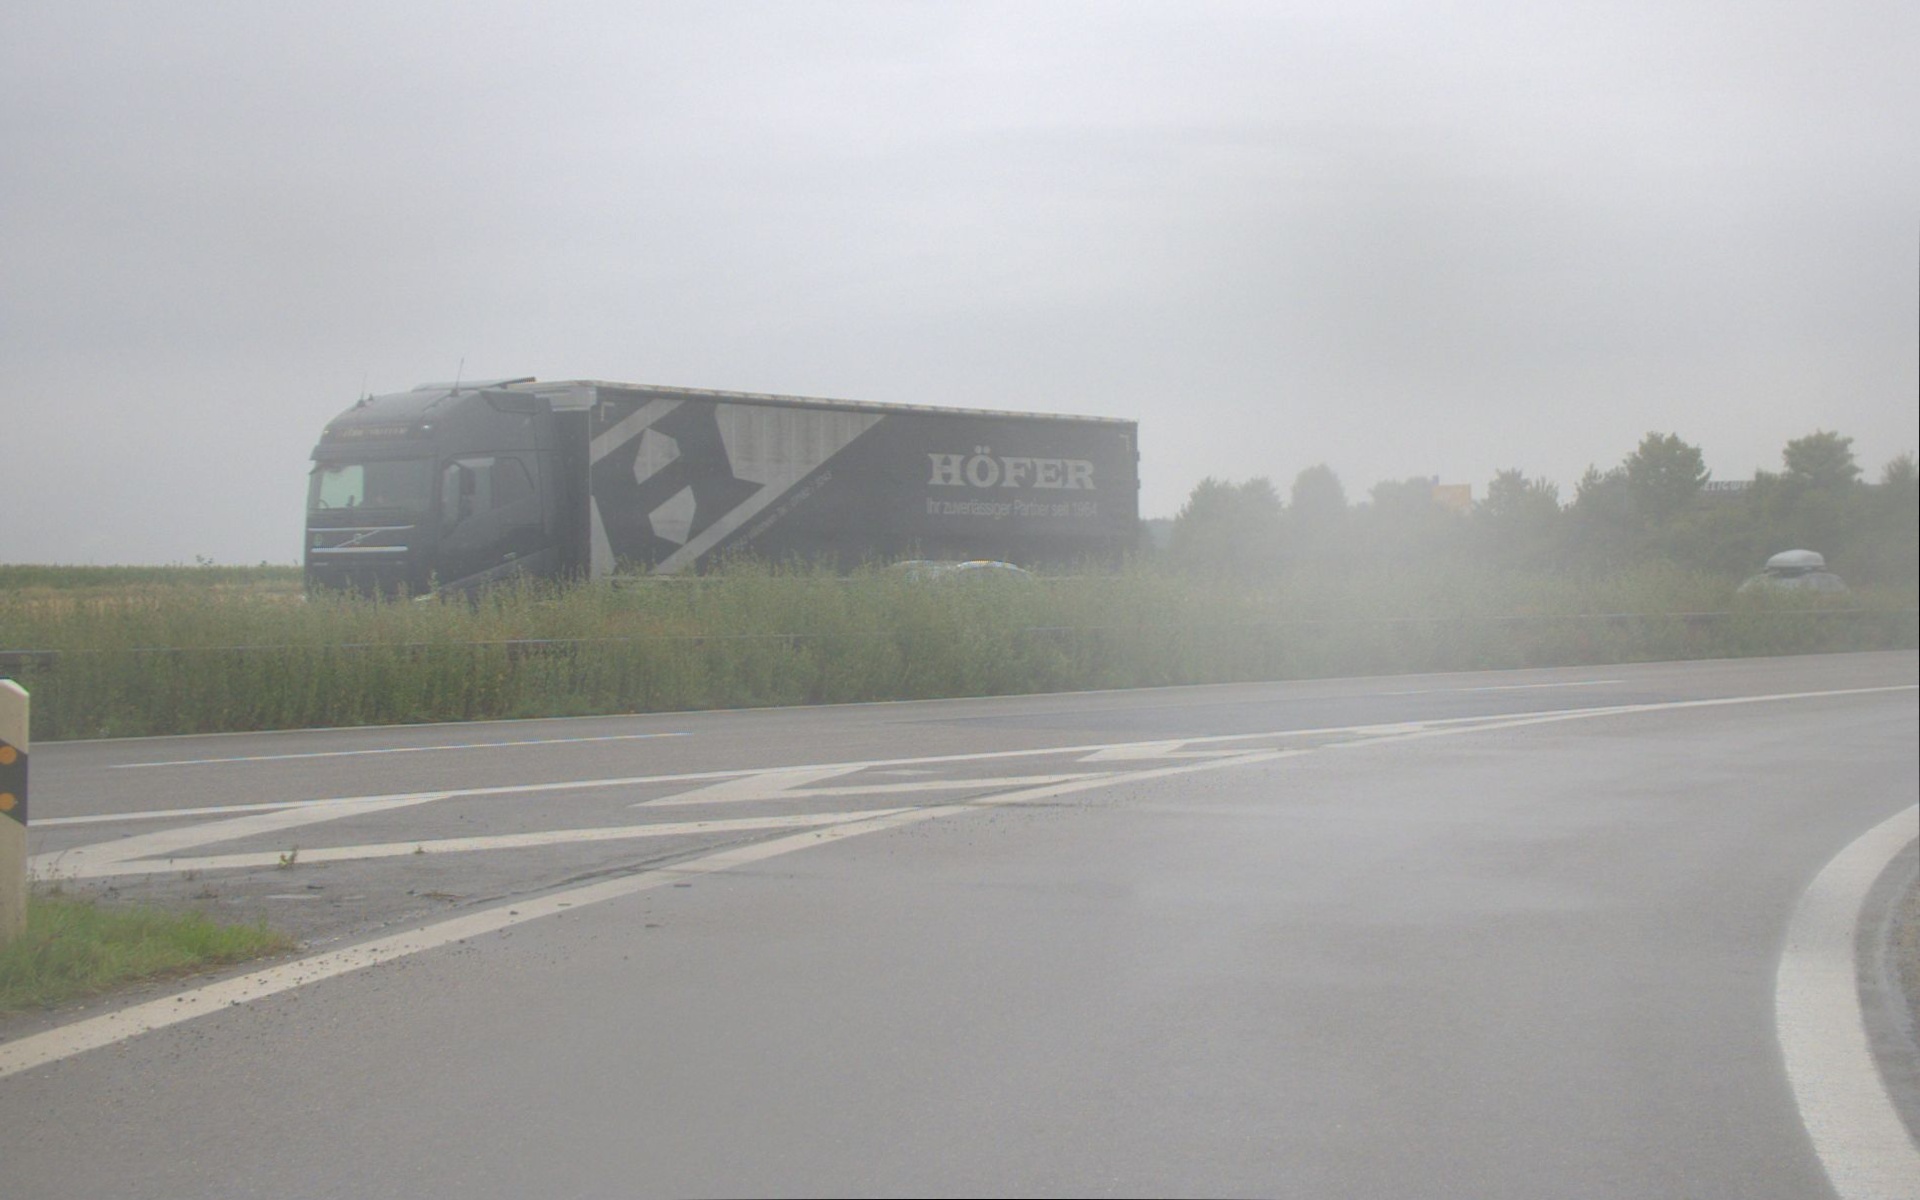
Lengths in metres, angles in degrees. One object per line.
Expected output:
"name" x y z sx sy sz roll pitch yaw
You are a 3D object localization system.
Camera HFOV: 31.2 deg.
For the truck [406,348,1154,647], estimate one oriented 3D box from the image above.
"truck" -2.220 -1.445 51.993 3.201 3.953 13.784 3 2 36
